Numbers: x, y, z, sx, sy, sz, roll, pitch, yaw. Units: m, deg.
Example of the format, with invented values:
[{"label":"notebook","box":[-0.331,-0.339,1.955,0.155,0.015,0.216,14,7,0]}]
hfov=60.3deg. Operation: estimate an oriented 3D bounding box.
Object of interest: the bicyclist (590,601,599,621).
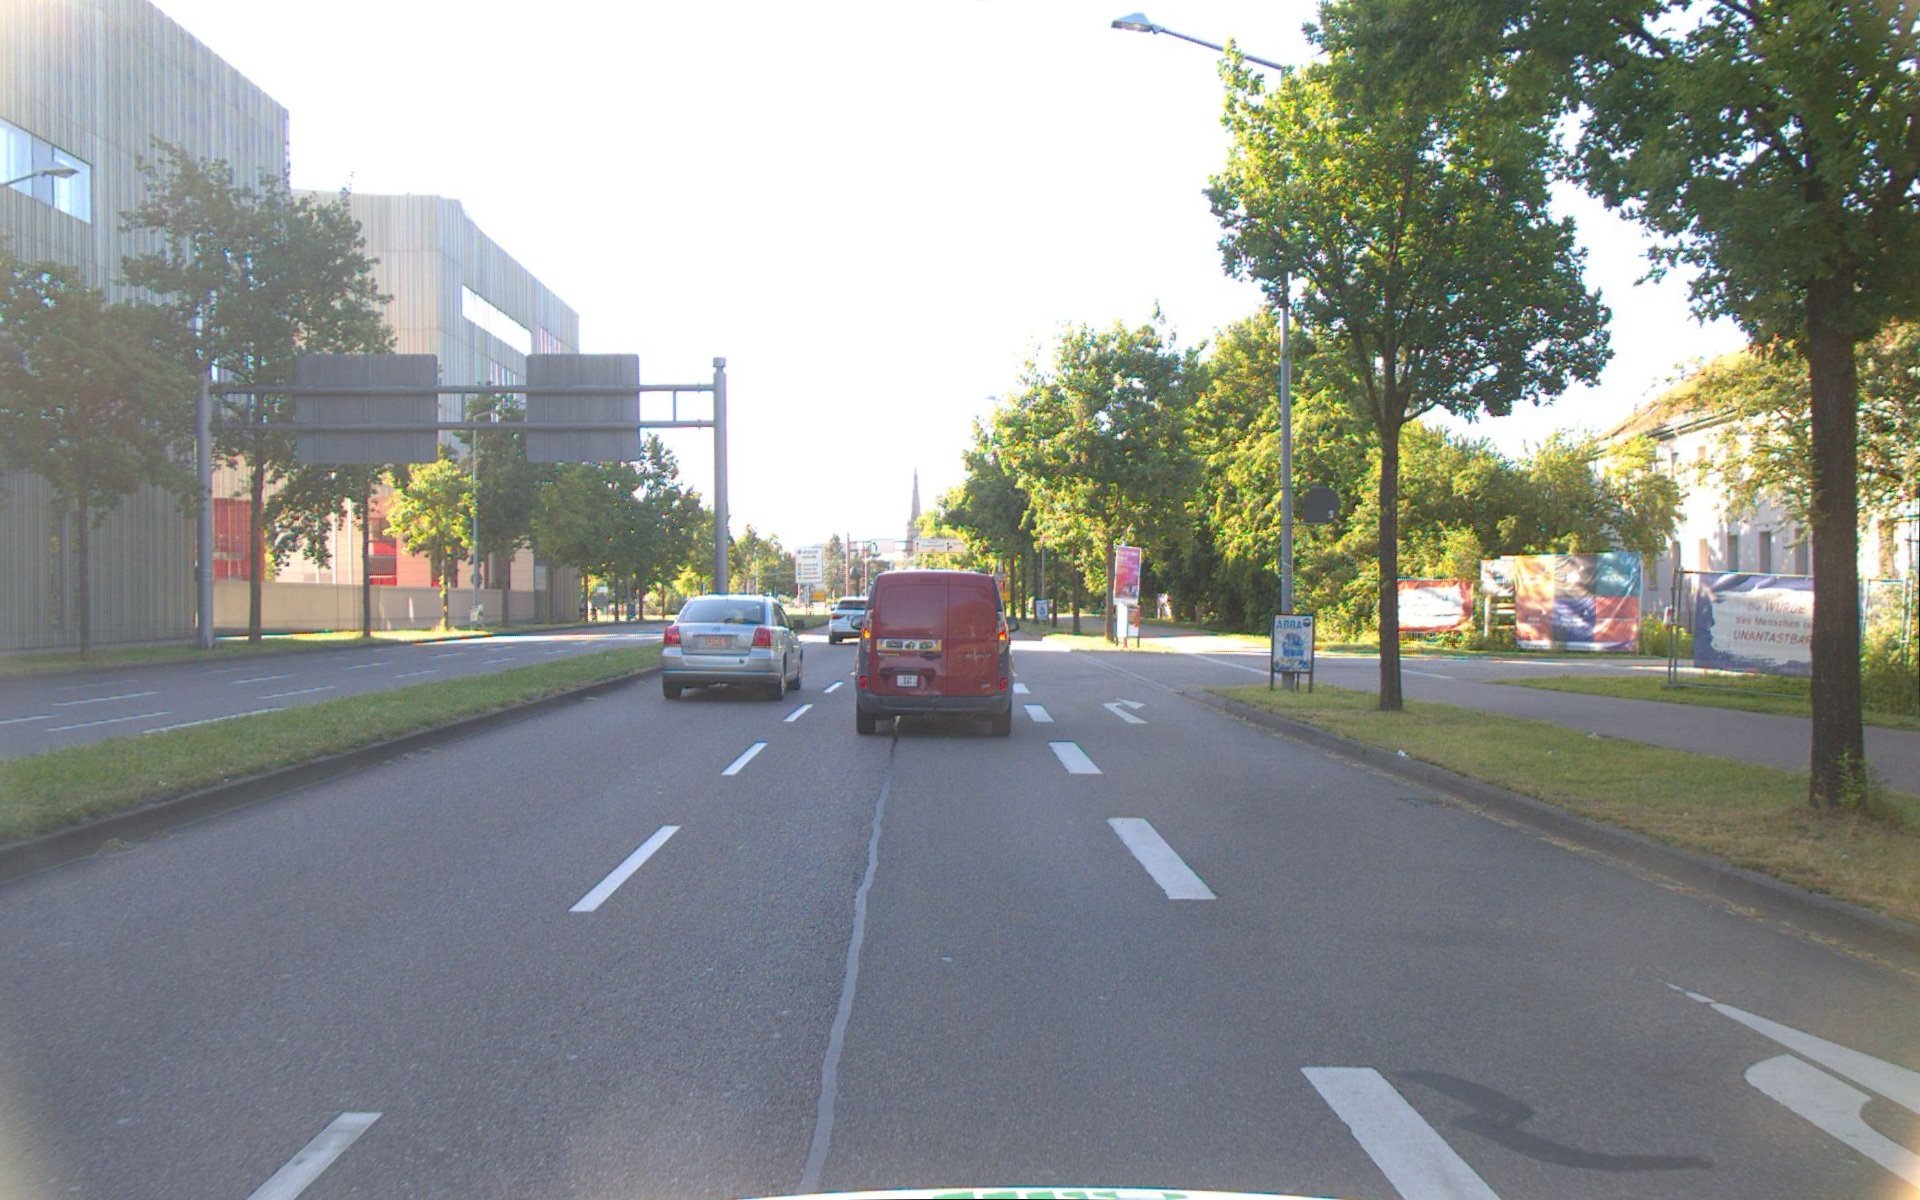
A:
[{"label":"bicyclist","box":[-27.200,0.817,123.018,0.551,1.417,0.747,0,-1,-3]}]

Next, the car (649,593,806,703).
[{"label":"car","box":[-3.370,0.665,24.679,1.803,1.482,4.161,1,0,-1]}]

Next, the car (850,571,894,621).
[{"label":"car","box":[-3.401,-0.140,64.684,1.628,1.889,3.557,0,0,-2]}]

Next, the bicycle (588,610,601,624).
[{"label":"bicycle","box":[-27.199,1.285,123.024,0.558,1.021,2.095,0,-1,-3]}]

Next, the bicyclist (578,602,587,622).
[{"label":"bicyclist","box":[-28.126,0.890,123.264,0.472,1.419,0.844,0,-1,-3]}]

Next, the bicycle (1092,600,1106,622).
[{"label":"bicycle","box":[7.550,0.580,89.787,0.757,1.151,1.710,0,0,6]}]

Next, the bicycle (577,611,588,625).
[{"label":"bicycle","box":[-28.123,1.311,123.251,0.477,1.021,2.095,0,-1,-3]}]

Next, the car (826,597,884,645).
[{"label":"car","box":[-3.198,0.635,50.857,1.628,1.422,3.557,0,0,-2]}]

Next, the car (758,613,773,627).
[{"label":"car","box":[-21.483,2.183,182.905,1.417,1.461,3.457,0,0,-3]}]

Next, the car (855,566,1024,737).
[{"label":"car","box":[-0.276,0.550,19.493,1.770,1.790,4.004,1,0,-2]}]
